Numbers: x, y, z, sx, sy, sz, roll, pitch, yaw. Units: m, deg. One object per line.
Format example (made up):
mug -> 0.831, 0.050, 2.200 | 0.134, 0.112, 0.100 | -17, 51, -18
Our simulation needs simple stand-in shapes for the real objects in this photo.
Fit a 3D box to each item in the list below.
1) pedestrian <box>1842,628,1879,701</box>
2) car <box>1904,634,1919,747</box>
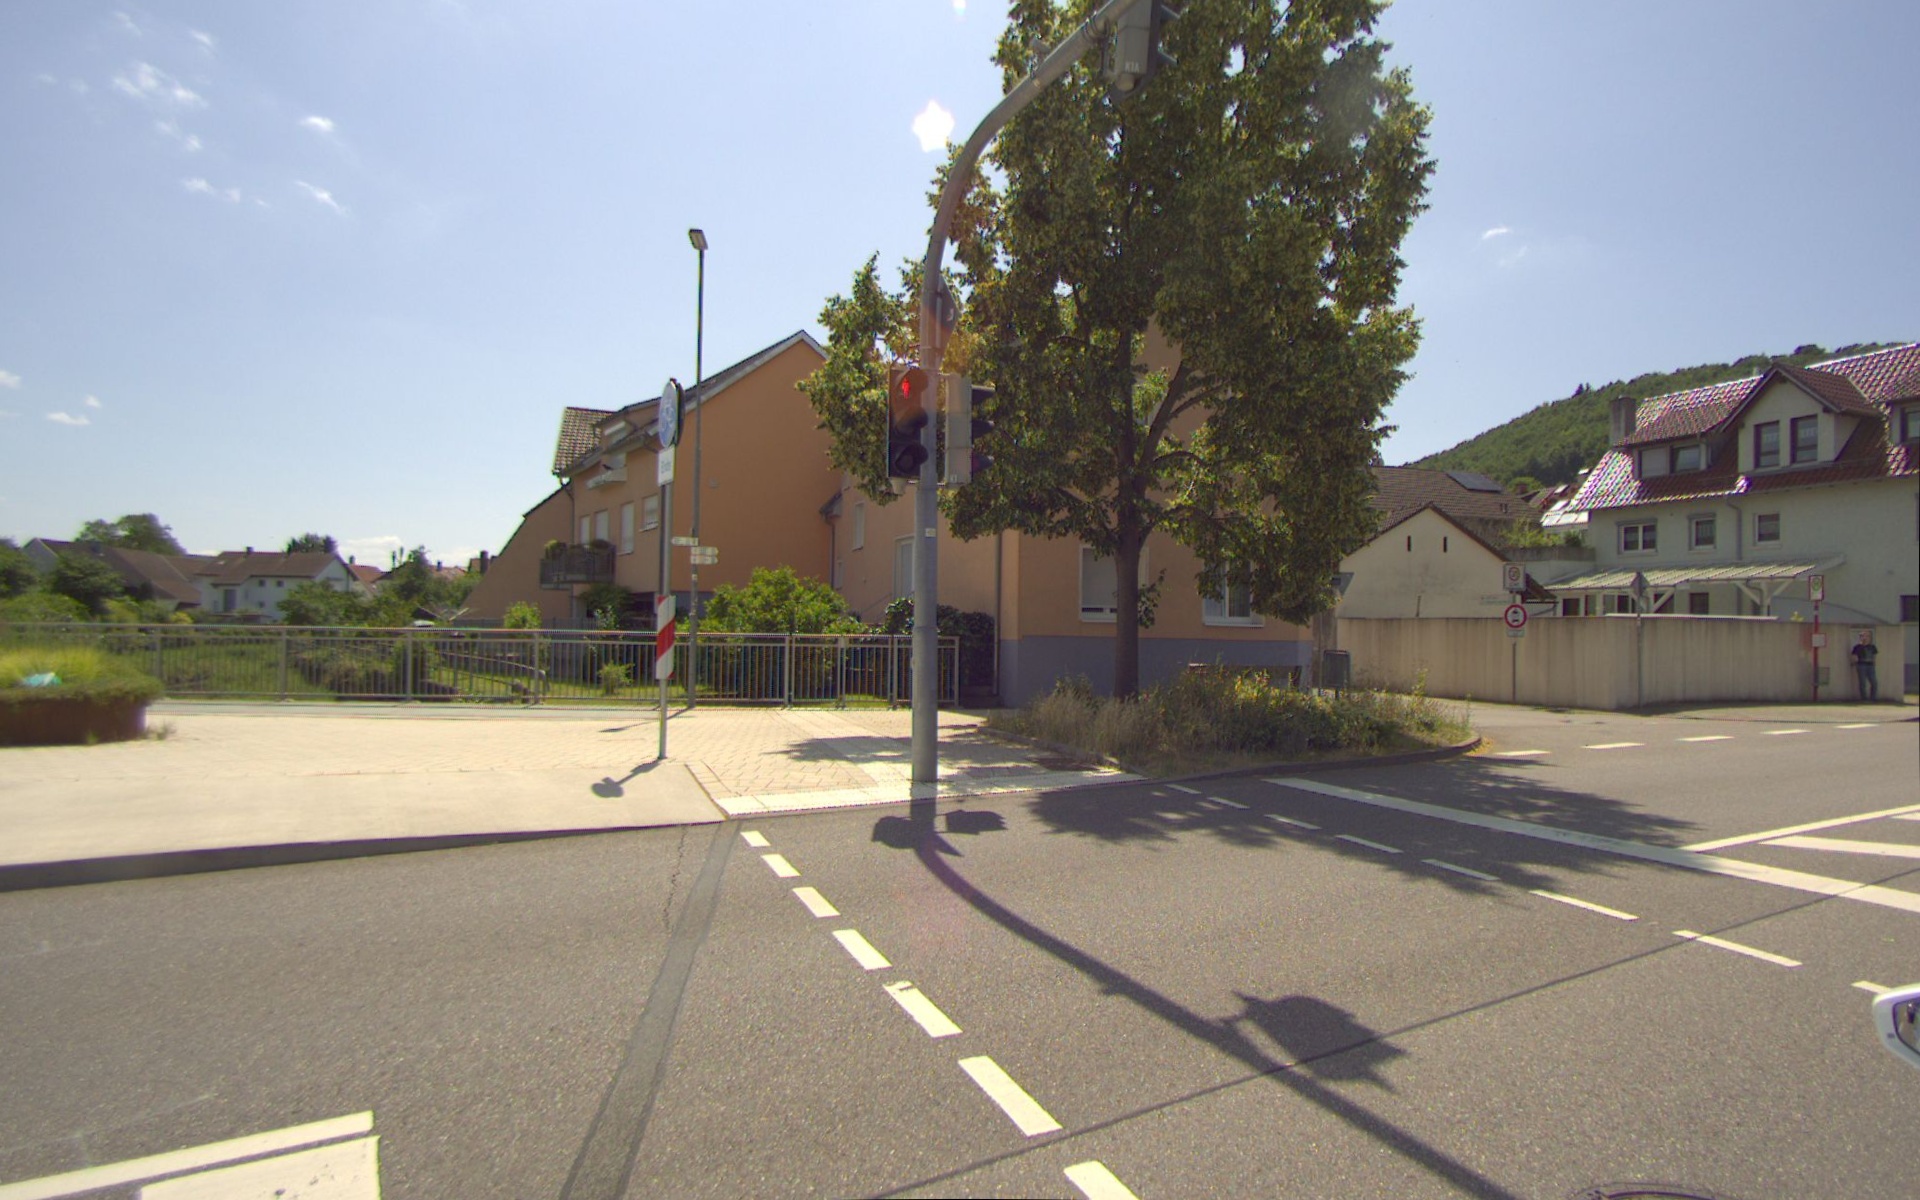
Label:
pedestrian -> 22.292, 1.601, 24.873 | 0.547, 1.788, 0.434 | 1, -1, -9
car -> 16.075, 1.385, 15.252 | 3.628, 1.673, 1.729 | 2, -2, -33
